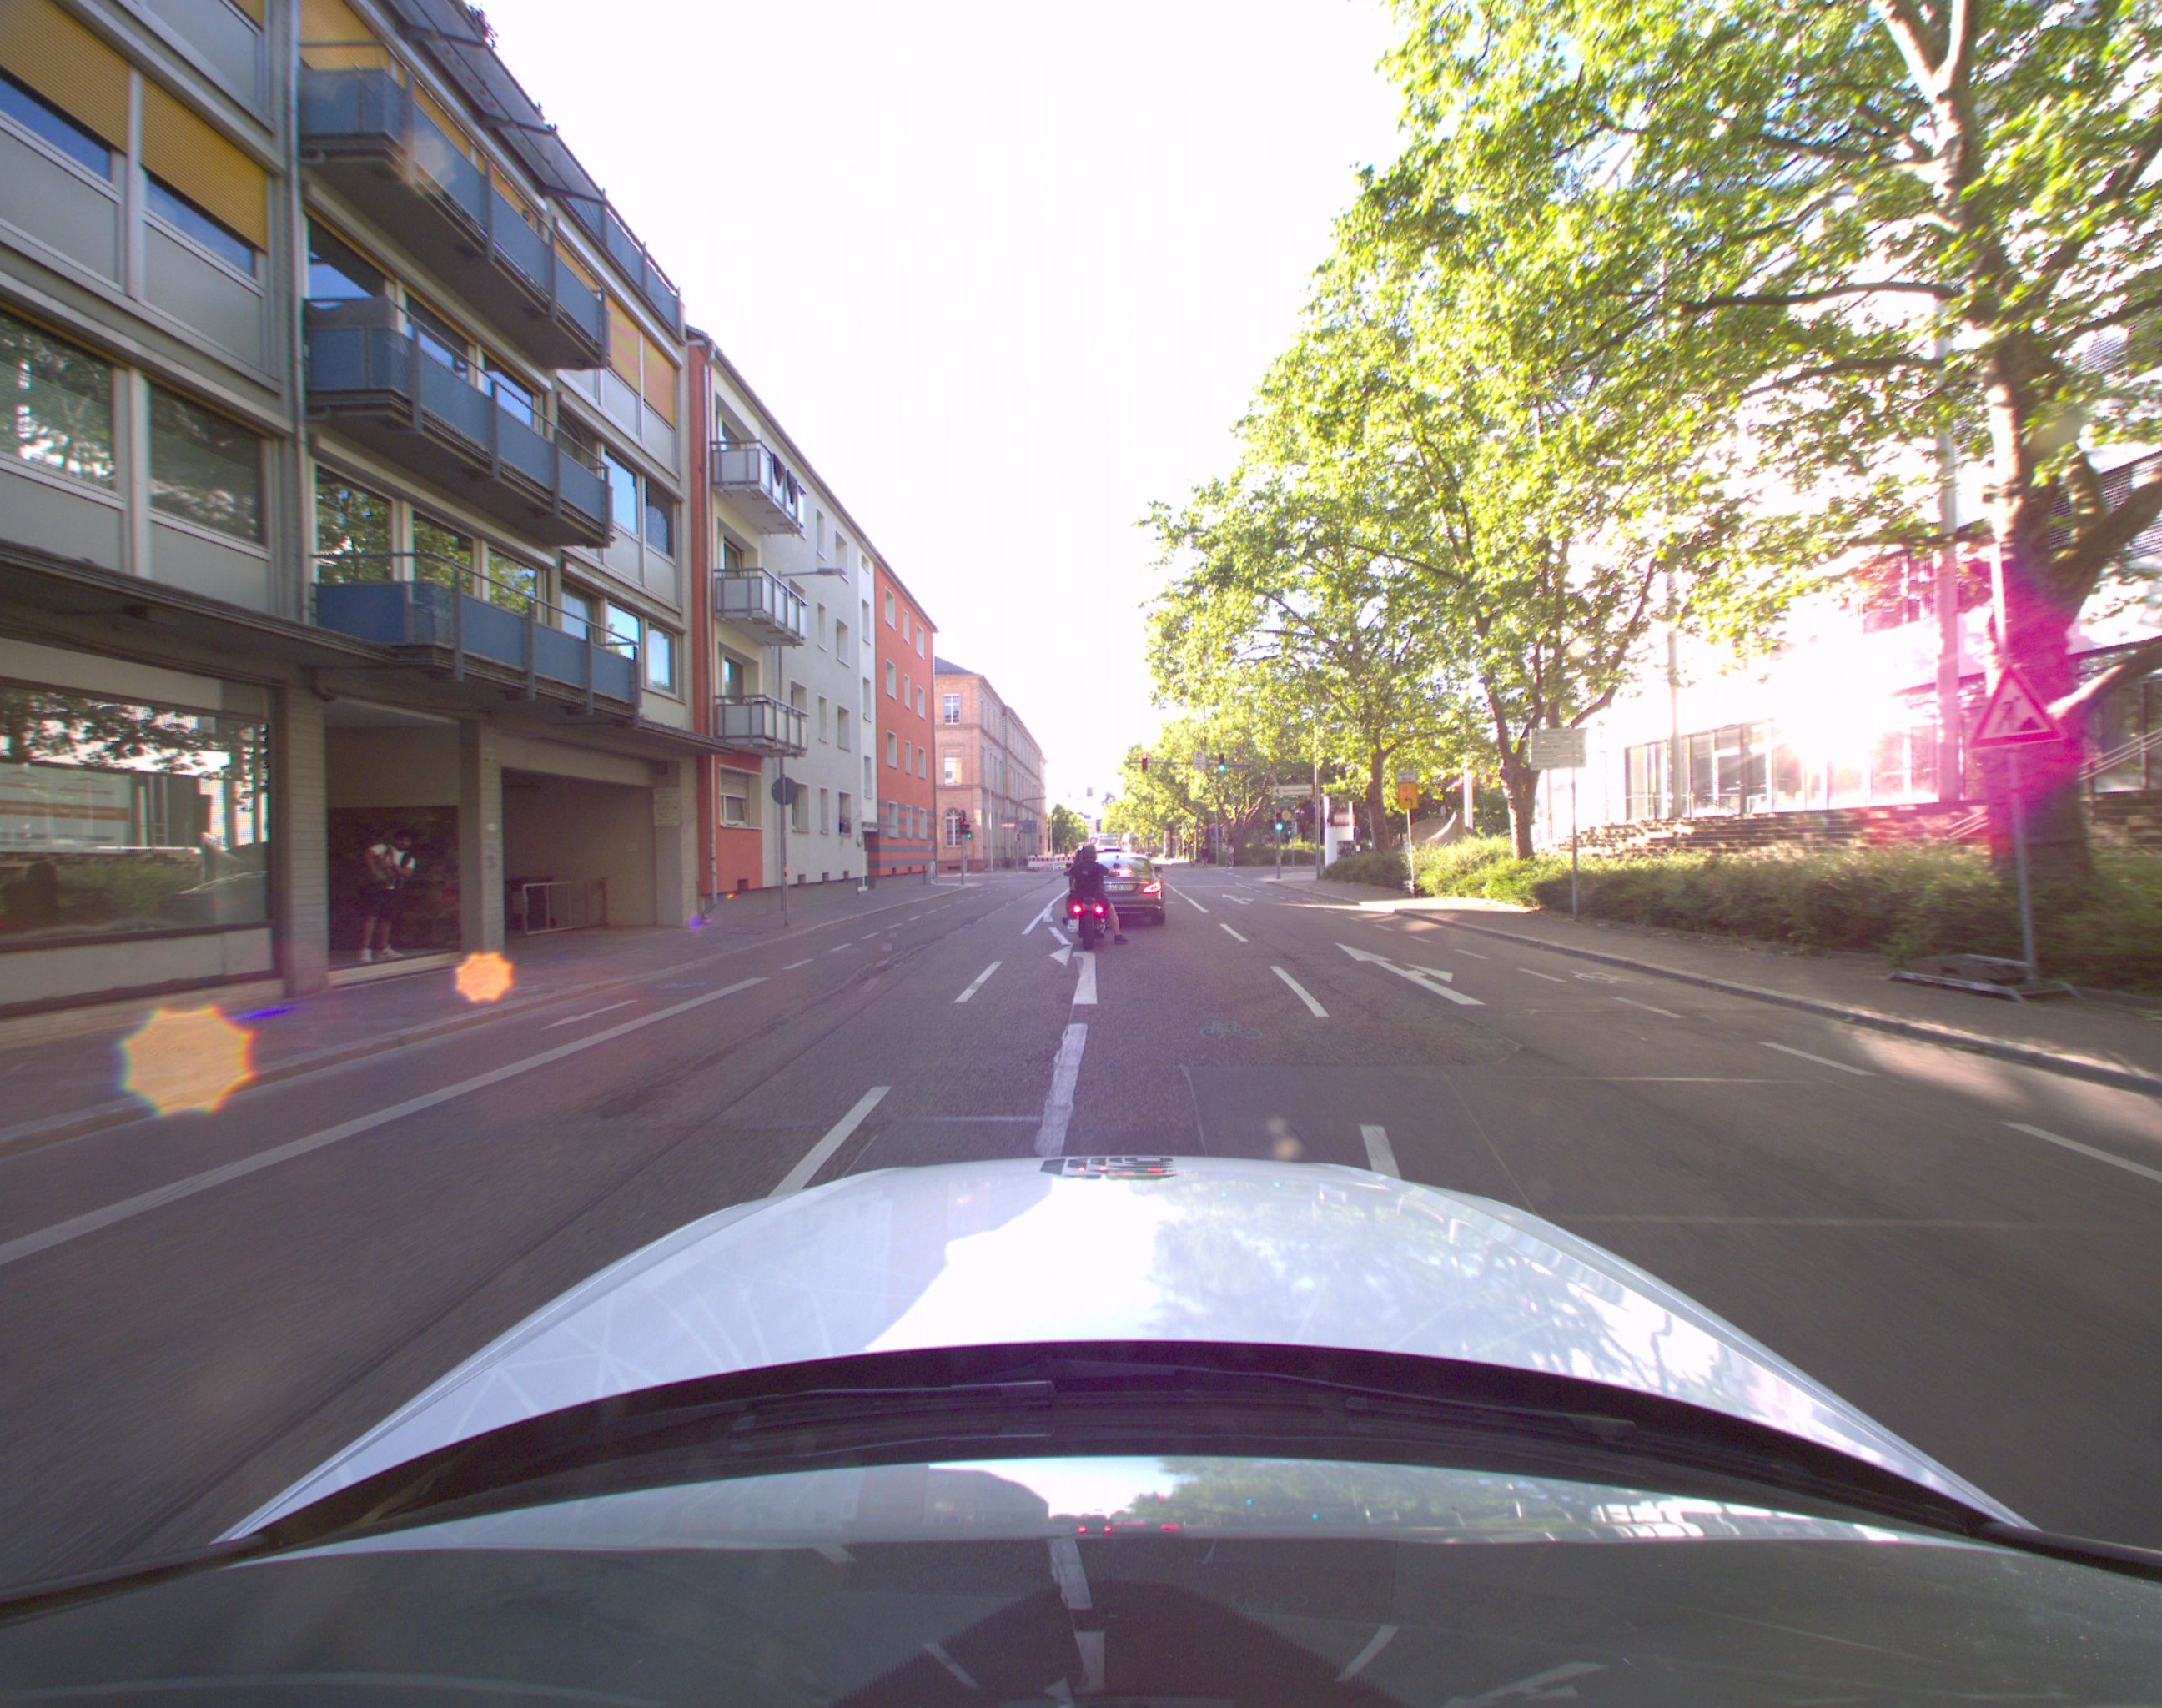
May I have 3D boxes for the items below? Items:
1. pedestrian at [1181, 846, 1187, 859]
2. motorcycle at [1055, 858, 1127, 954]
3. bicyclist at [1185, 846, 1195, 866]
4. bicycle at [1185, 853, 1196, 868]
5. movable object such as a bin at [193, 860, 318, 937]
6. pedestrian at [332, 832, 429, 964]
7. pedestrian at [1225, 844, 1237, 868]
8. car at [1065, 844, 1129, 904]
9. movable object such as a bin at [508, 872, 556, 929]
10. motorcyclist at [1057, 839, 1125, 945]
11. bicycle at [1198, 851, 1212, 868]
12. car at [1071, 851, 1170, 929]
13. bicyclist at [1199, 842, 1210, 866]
[{"bbox_3d":[12.229,-0.198,96.610,0.590,1.578,0.527,0,0,2],"label":"pedestrian"},{"bbox_3d":[0.185,0.746,12.929,1.008,1.306,2.674,-1,0,2],"label":"motorcycle"},{"bbox_3d":[8.279,0.169,61.621,0.653,1.530,0.906,0,0,2],"label":"bicyclist"},{"bbox_3d":[8.275,0.510,61.581,0.653,1.111,2.186,0,0,2],"label":"bicycle"},{"bbox_3d":[-16.112,0.845,15.938,1.313,1.414,1.080,-1,0,1],"label":"movable object such as a bin"},{"bbox_3d":[-8.707,0.522,10.151,0.511,1.579,0.756,-1,0,2],"label":"pedestrian"},{"bbox_3d":[11.153,0.117,60.656,0.574,1.774,0.619,1,0,-32],"label":"pedestrian"},{"bbox_3d":[0.406,0.549,24.240,1.626,1.650,3.846,0,0,-3],"label":"car"},{"bbox_3d":[-10.953,0.921,16.269,0.487,1.088,0.654,-1,0,2],"label":"movable object such as a bin"},{"bbox_3d":[0.172,0.579,13.130,1.008,1.602,1.406,-1,0,2],"label":"motorcyclist"},{"bbox_3d":[7.957,0.369,52.480,0.653,1.070,1.928,0,0,2],"label":"bicycle"},{"bbox_3d":[0.797,0.652,17.005,1.821,1.420,3.816,-1,0,2],"label":"car"},{"bbox_3d":[7.957,-0.024,52.489,0.653,1.530,0.852,0,0,2],"label":"bicyclist"}]
